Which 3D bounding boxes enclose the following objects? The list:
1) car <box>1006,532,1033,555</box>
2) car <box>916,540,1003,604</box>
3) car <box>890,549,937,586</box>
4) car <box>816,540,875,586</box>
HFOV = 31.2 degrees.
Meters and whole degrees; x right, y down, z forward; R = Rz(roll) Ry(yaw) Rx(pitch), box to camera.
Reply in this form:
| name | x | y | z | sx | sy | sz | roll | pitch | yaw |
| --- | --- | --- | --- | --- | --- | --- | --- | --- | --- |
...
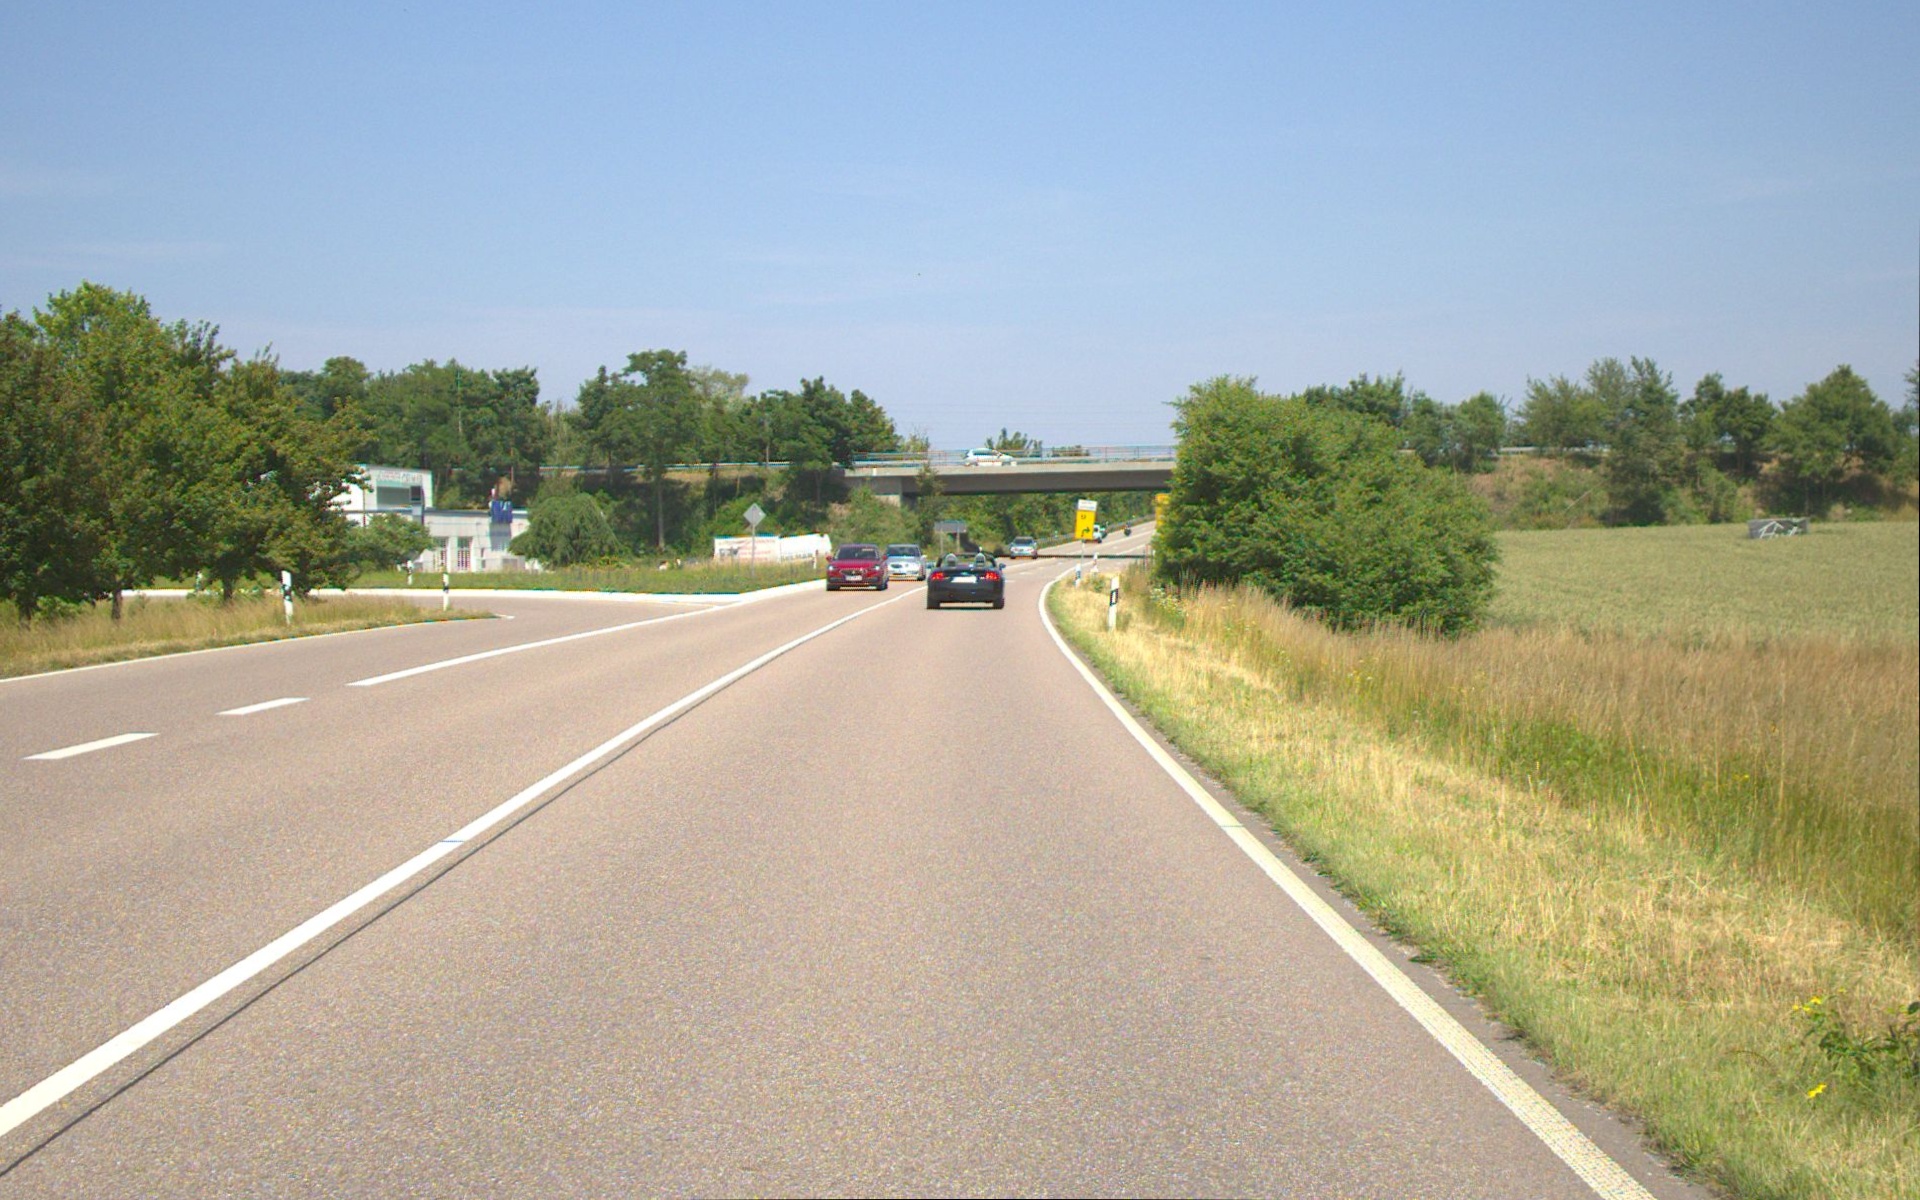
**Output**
| name | x | y | z | sx | sy | sz | roll | pitch | yaw |
| --- | --- | --- | --- | --- | --- | --- | --- | --- | --- |
| car | 4.311 | -4.116 | 249.874 | 1.831 | 1.562 | 3.334 | 1 | 0 | -1 |
| car | -0.030 | -0.648 | 79.364 | 1.814 | 1.436 | 4.000 | 0 | 1 | -3 |
| car | -1.806 | -1.284 | 134.857 | 1.731 | 1.386 | 4.491 | 1 | 1 | 0 |
| car | -3.603 | -1.194 | 108.649 | 1.742 | 1.407 | 4.625 | 1 | 1 | -1 |
